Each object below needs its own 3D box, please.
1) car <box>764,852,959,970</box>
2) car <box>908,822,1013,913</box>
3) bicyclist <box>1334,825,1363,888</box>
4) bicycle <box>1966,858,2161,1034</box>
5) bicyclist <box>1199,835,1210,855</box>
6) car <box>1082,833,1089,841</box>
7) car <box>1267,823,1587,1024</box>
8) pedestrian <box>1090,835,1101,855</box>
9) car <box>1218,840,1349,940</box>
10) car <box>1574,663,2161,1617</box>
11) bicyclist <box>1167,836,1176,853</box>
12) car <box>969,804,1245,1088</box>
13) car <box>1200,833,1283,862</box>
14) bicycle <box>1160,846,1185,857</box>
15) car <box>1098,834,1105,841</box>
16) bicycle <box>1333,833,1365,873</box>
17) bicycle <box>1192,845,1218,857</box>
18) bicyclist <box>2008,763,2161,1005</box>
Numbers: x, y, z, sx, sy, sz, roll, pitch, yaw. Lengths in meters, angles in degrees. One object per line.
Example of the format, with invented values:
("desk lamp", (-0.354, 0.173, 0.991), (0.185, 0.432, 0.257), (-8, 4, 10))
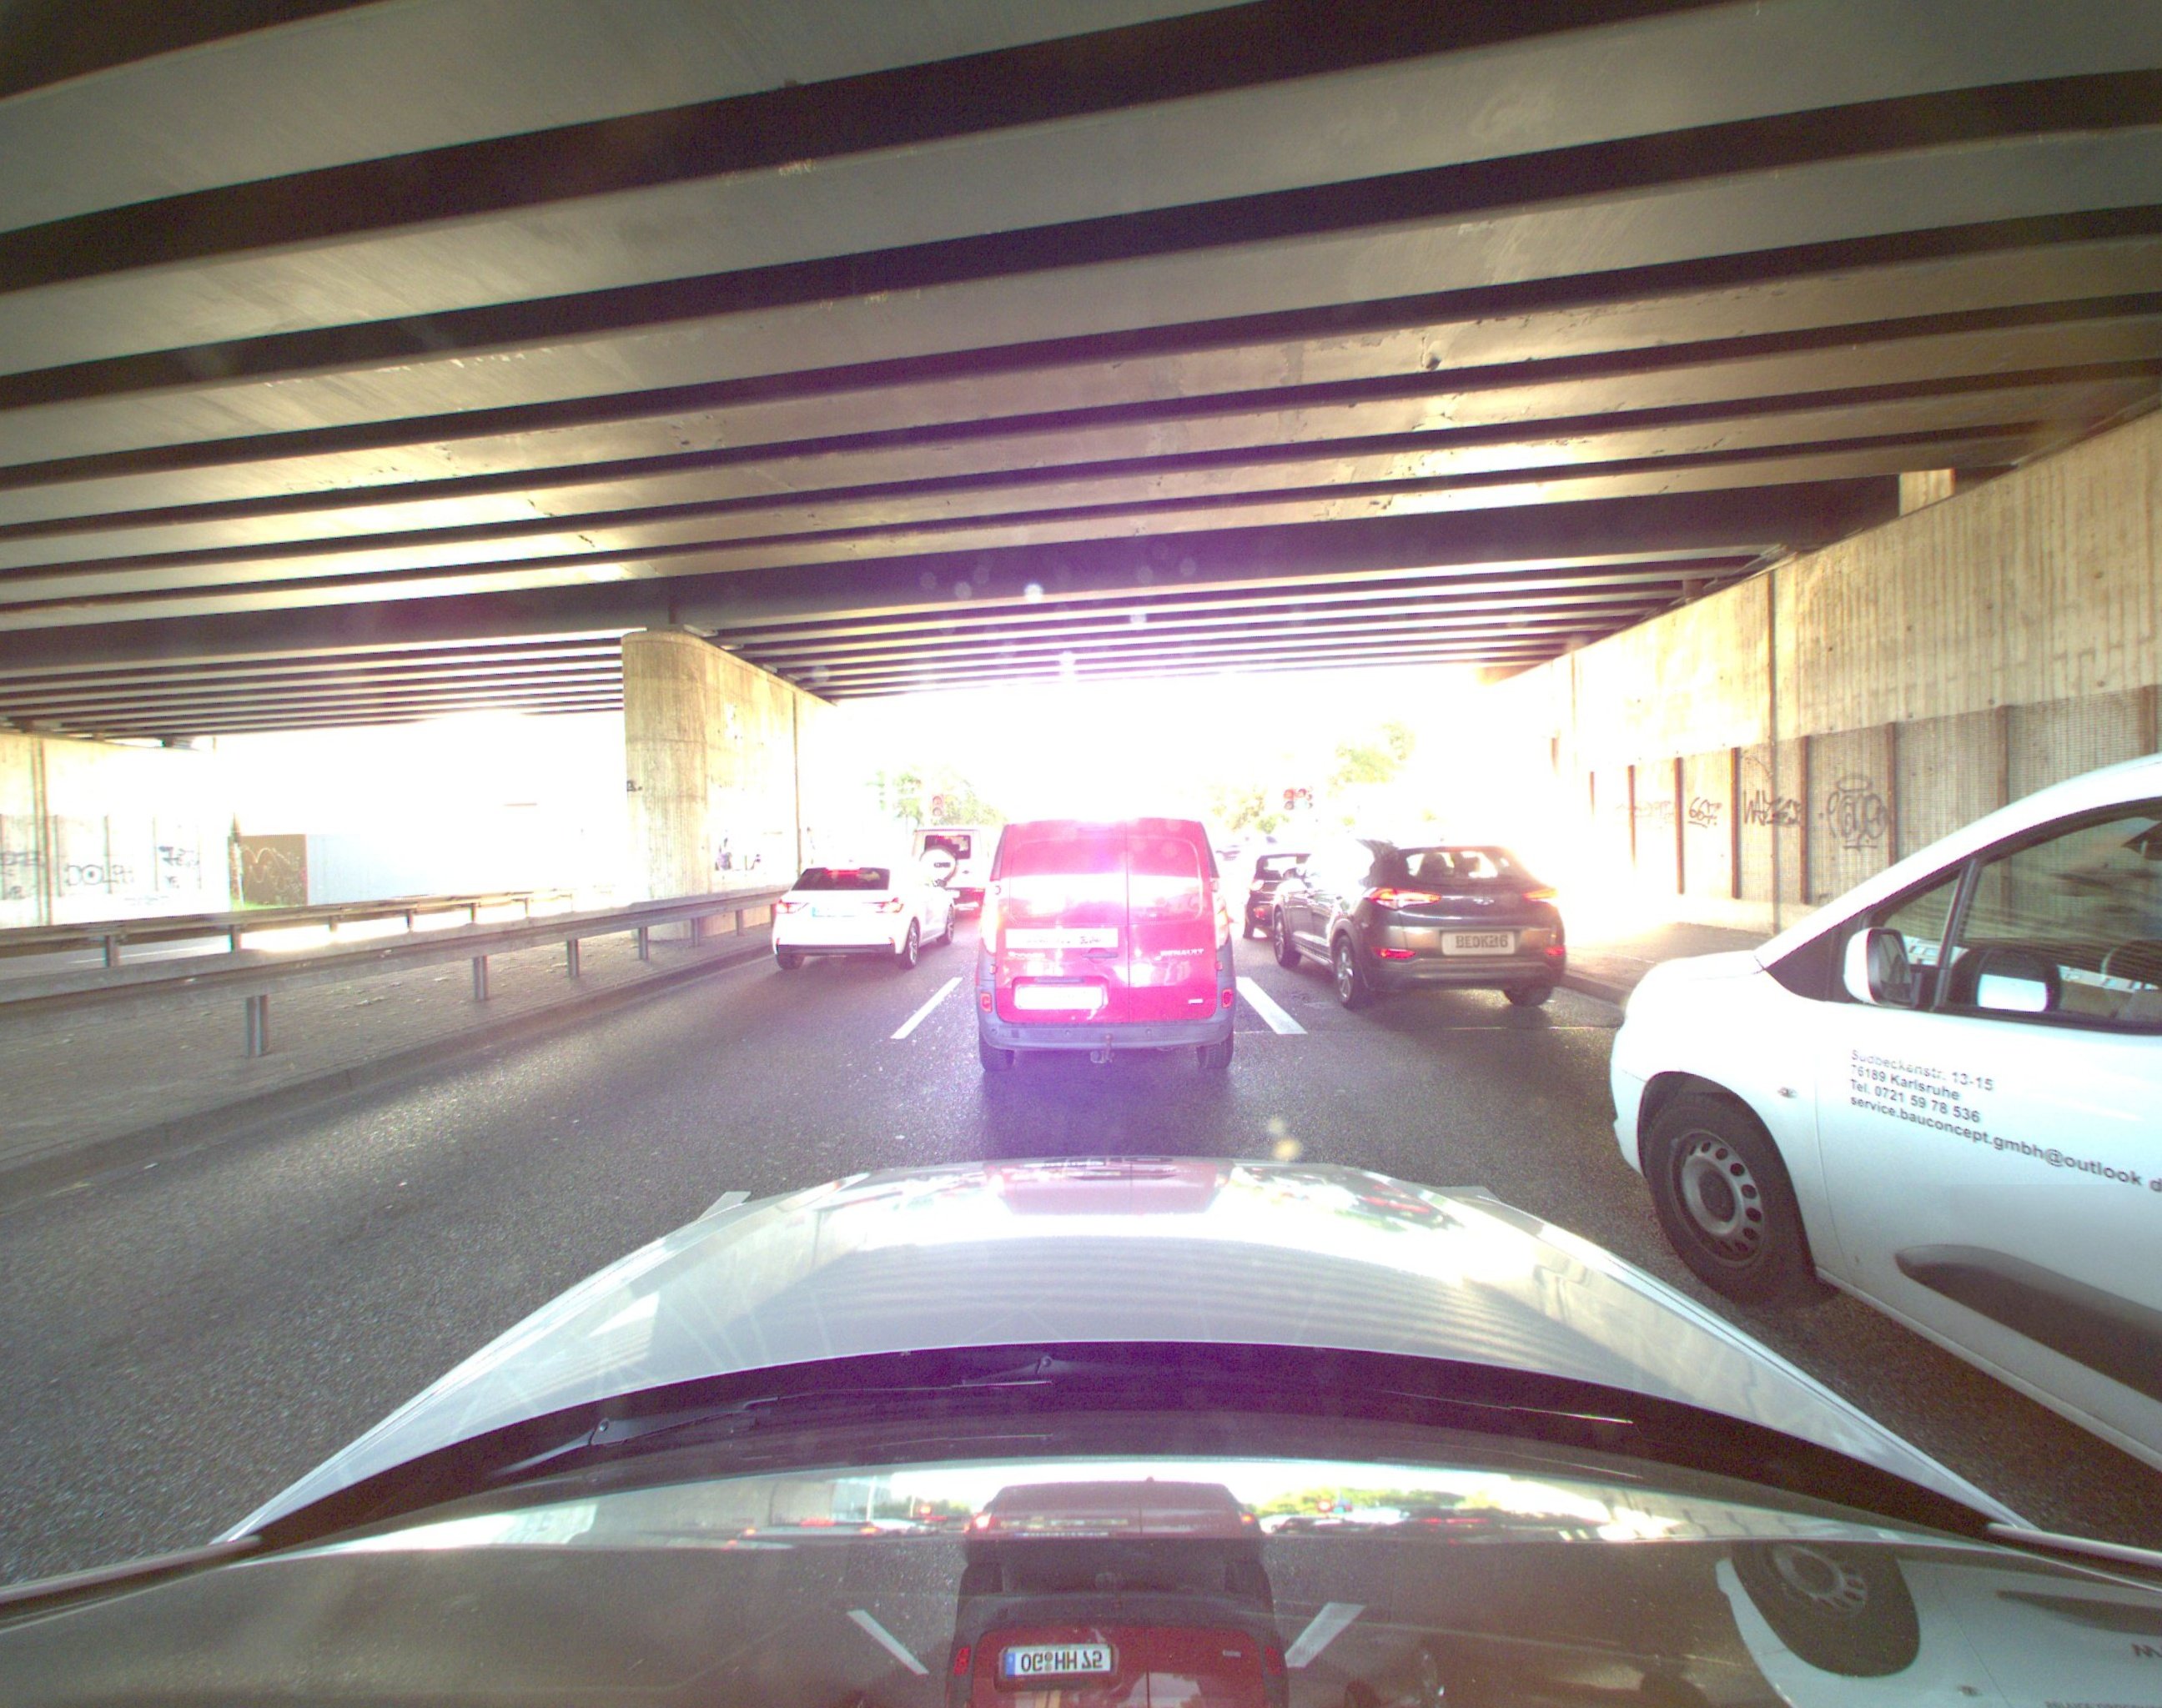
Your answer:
("car", (-2.926, 0.678, 11.689), (1.686, 1.410, 3.814), (0, 0, 1))
("car", (-2.687, 0.276, 18.991), (1.807, 1.904, 3.814), (0, 0, 1))
("bicyclist", (7.132, 0.067, 21.717), (0.673, 1.629, 0.646), (0, -1, 12))
("bicycle", (7.159, 0.590, 5.381), (0.699, 1.057, 1.761), (-3, 1, 2))
("bicyclist", (9.730, -0.740, 64.137), (0.752, 1.542, 0.697), (-1, 0, 2))
("car", (1.209, -4.501, 218.269), (1.986, 2.014, 4.001), (0, 0, 2))
("car", (3.323, 0.559, 8.739), (1.772, 1.655, 3.990), (0, 0, 0))
("pedestrian", (1.131, -0.730, 63.994), (0.835, 1.554, 0.556), (-1, 0, -5))
("car", (3.487, 0.524, 14.658), (1.645, 1.552, 3.868), (0, 1, 4))
("car", (2.976, 0.549, 1.289), (1.808, 1.833, 4.300), (0, 1, 0))
("bicyclist", (7.253, -0.782, 65.105), (0.651, 1.329, 0.602), (0, -1, -2))
("car", (0.224, 0.569, 7.095), (1.712, 1.764, 4.002), (0, 0, 2))
("car", (8.956, -0.344, 45.630), (4.328, 1.607, 2.002), (0, 0, 3))
("bicycle", (7.302, -0.197, 65.102), (1.908, 0.867, 0.605), (-1, 0, -2))
("car", (5.534, -4.459, 220.878), (1.986, 2.014, 4.001), (0, 0, 2))
("bicycle", (7.128, -0.018, 21.710), (0.672, 1.024, 1.534), (0, 0, 12))
("bicycle", (9.788, -0.252, 64.146), (1.945, 0.874, 0.700), (-1, 0, 2))
("bicyclist", (7.142, 0.173, 5.473), (0.693, 1.524, 0.910), (-4, -1, 2))
